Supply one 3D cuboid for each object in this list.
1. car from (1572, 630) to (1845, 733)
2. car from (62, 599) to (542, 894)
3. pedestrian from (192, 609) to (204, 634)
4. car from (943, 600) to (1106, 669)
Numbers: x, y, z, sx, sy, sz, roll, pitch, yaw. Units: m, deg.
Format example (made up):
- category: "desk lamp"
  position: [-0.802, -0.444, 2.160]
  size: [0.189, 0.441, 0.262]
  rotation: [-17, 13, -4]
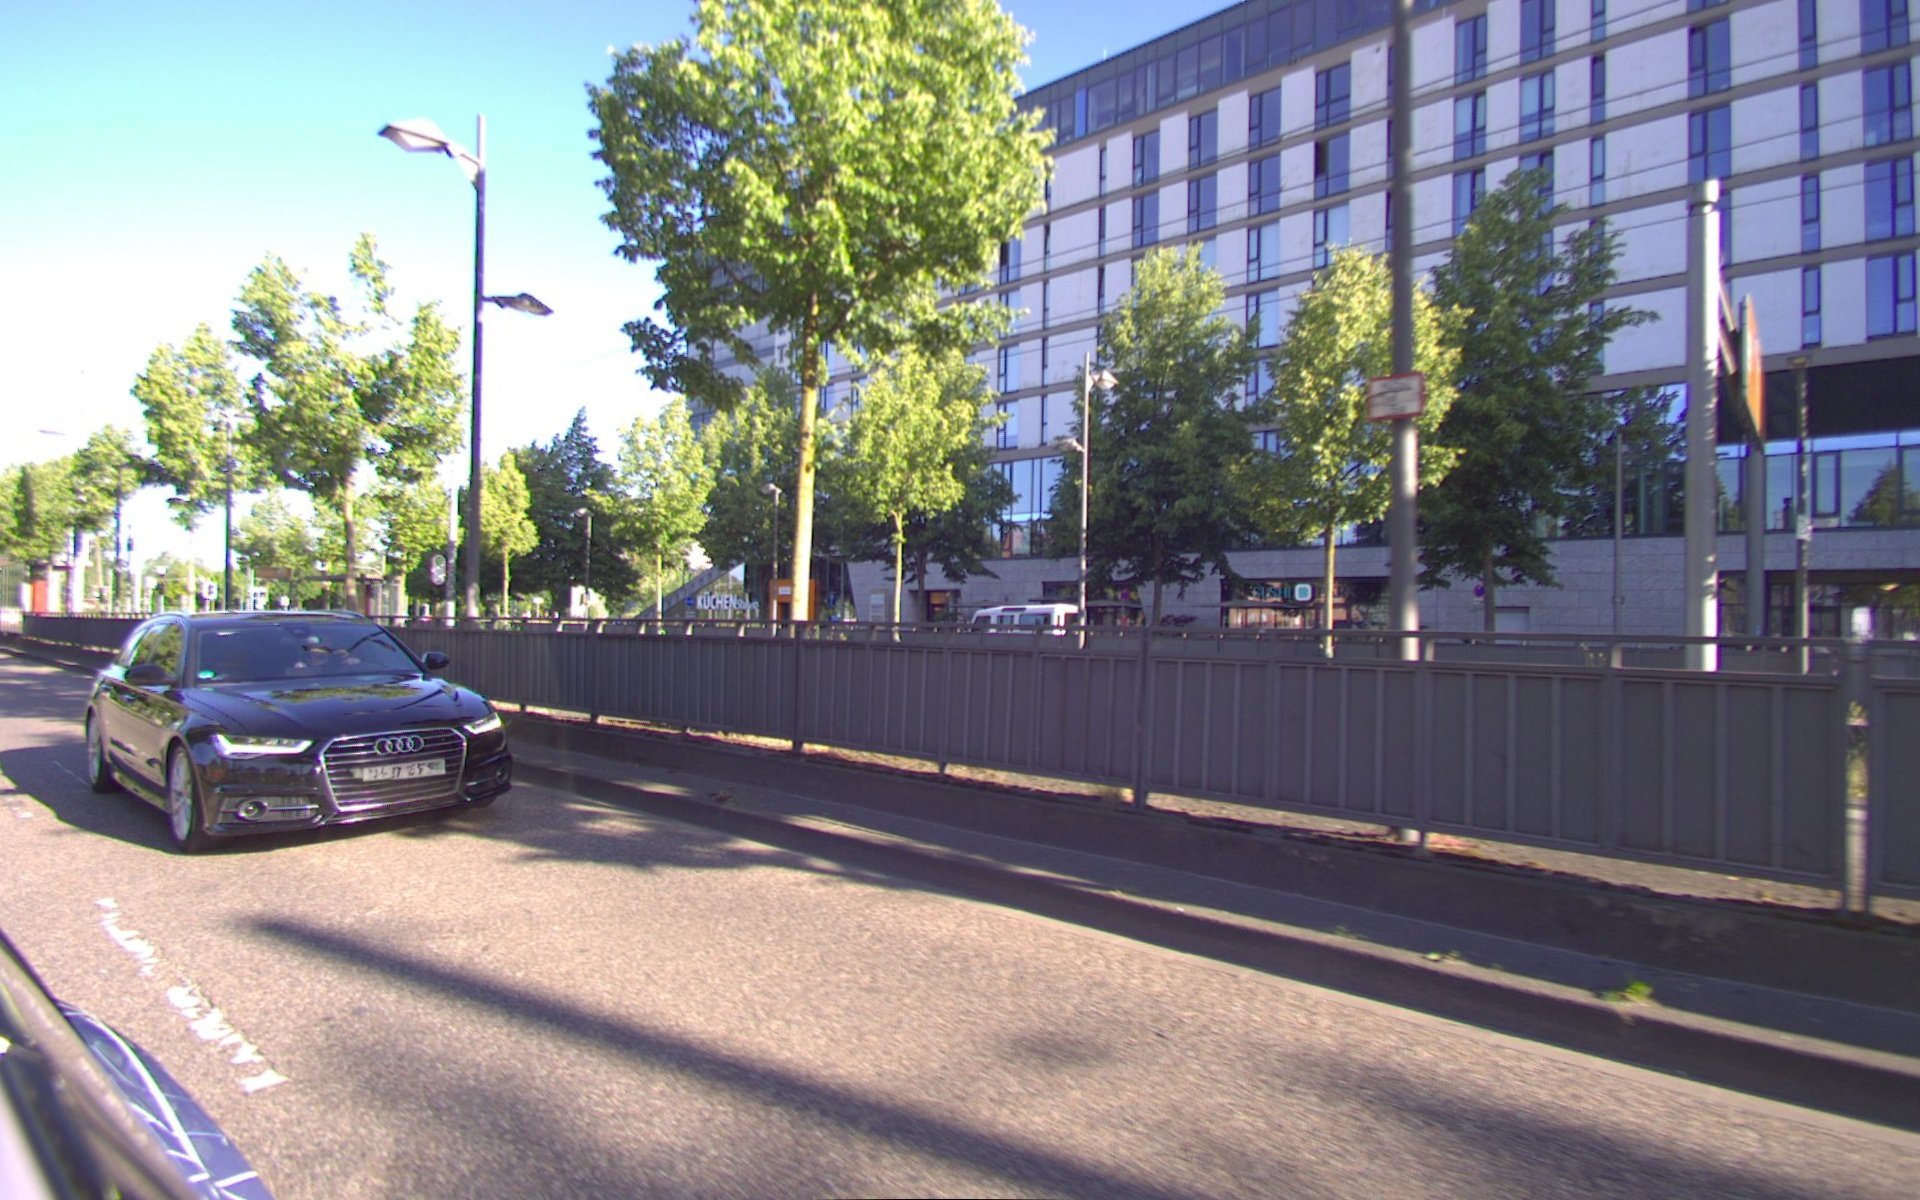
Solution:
- category: "car"
  position: [12.960, 1.331, 17.648]
  size: [3.699, 1.532, 1.661]
  rotation: [0, -2, 41]
- category: "car"
  position: [-5.059, 0.765, 7.479]
  size: [4.598, 1.538, 1.766]
  rotation: [0, 0, 41]
- category: "pedestrian"
  position: [-48.950, 1.378, 65.028]
  size: [0.810, 1.590, 0.413]
  rotation: [2, 0, 39]
- category: "car"
  position: [1.760, 0.930, 28.301]
  size: [4.226, 1.763, 1.972]
  rotation: [0, -2, 41]
